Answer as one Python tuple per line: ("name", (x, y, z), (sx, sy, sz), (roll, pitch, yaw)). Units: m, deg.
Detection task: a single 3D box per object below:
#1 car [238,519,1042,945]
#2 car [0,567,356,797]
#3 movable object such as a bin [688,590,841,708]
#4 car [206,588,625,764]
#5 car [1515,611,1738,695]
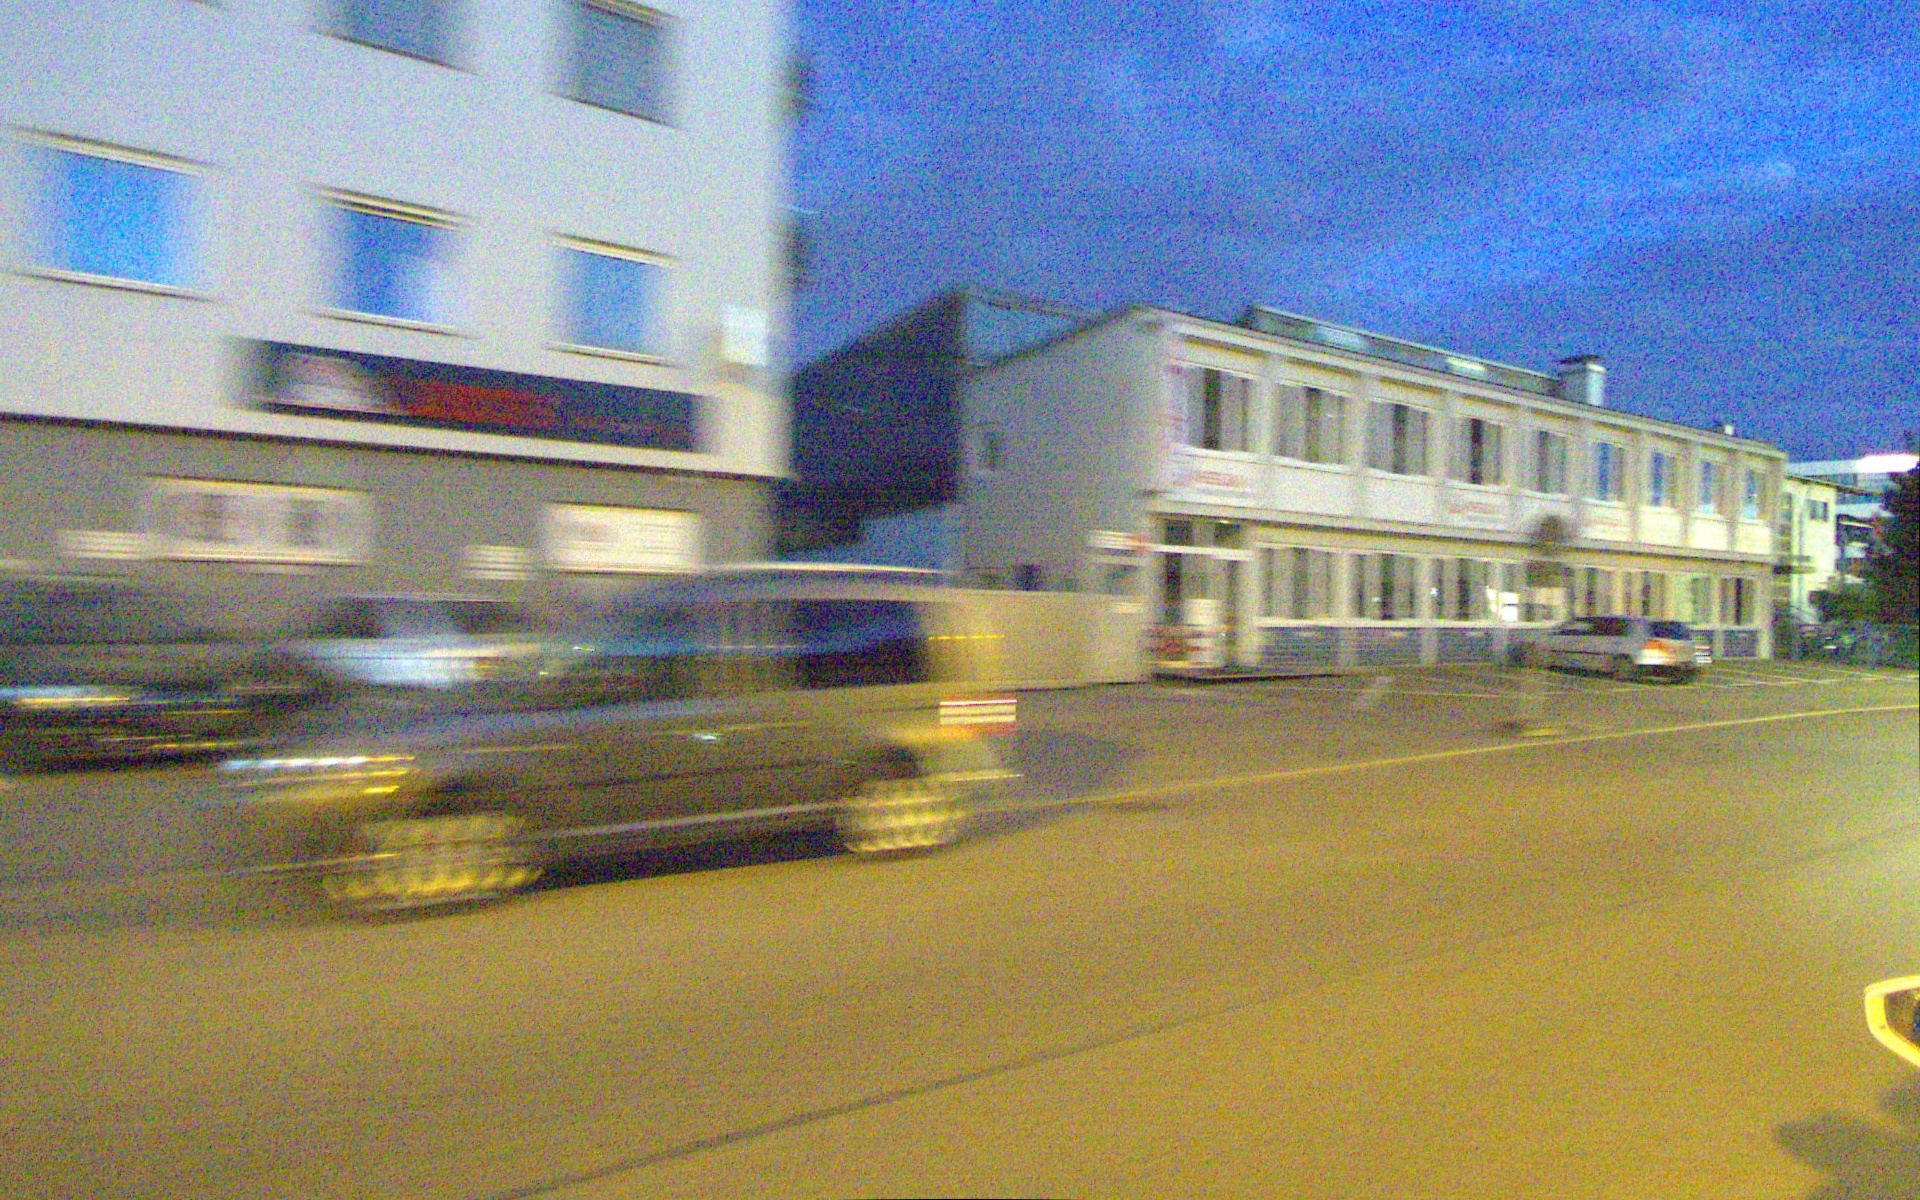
("car", (-1.774, 0.639, 6.358), (4.366, 1.873, 1.804), (2, -1, -32))
("car", (-7.650, 0.573, 8.923), (4.590, 1.571, 1.996), (0, -1, 31))
("movable object such as a bin", (-2.788, 0.642, 14.164), (1.590, 1.520, 1.849), (1, 0, -30))
("car", (-5.612, 0.638, 10.217), (4.337, 1.459, 1.790), (0, -1, 31))
("car", (15.207, 1.157, 23.228), (1.863, 1.452, 4.131), (1, 3, -12))
